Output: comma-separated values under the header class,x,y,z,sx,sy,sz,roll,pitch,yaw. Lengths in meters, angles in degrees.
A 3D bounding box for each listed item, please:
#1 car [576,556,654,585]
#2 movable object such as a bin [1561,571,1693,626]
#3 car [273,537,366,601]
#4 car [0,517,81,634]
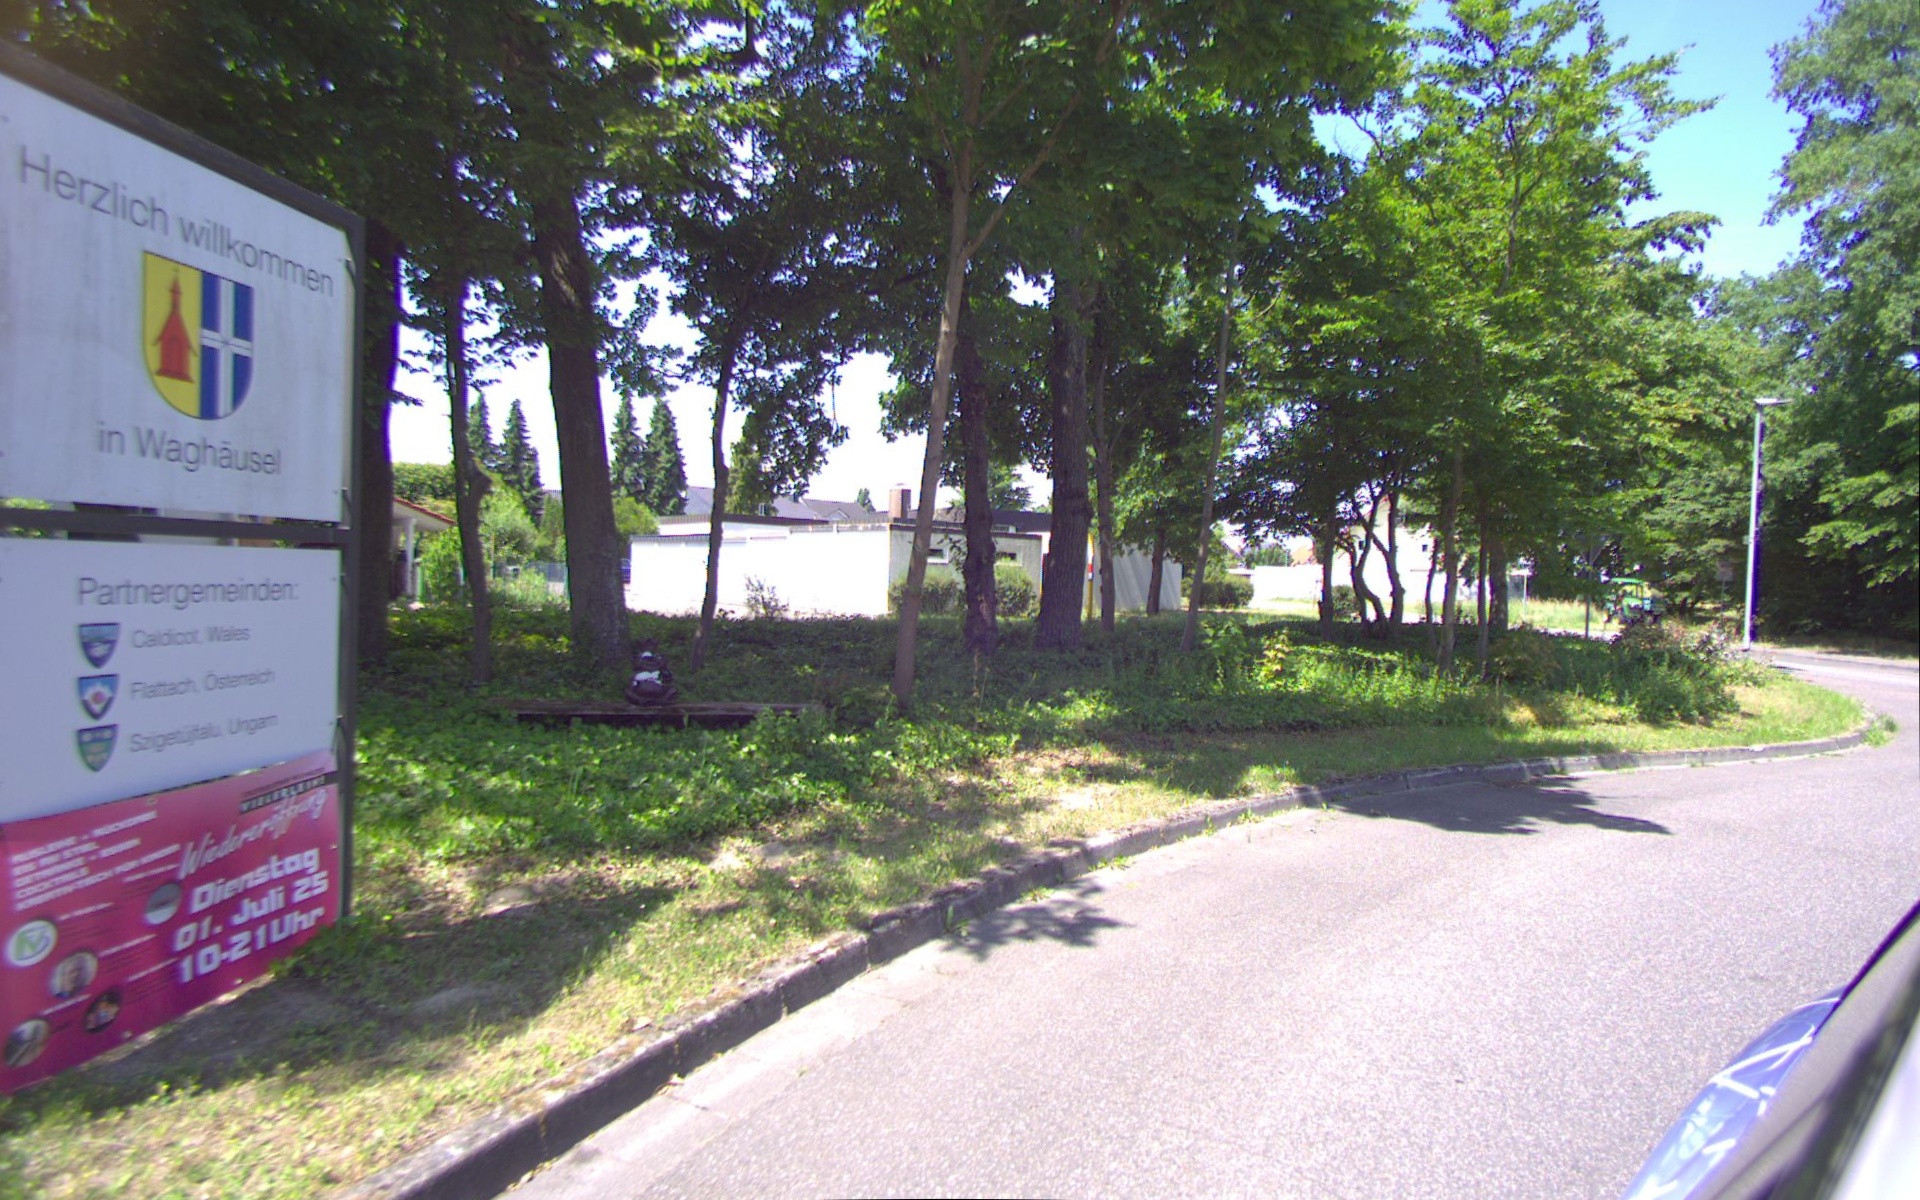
class,x,y,z,sx,sy,sz,roll,pitch,yaw
car,-16.758,-1.440,49.230,3.220,1.268,1.572,1,2,-40
movable object such as a bin,31.197,-0.140,47.608,2.474,2.304,5.243,2,2,-2
car,-15.565,-0.781,24.523,1.653,1.402,3.694,1,2,-36
car,-15.577,-0.402,14.784,4.070,1.726,1.664,1,2,-40
